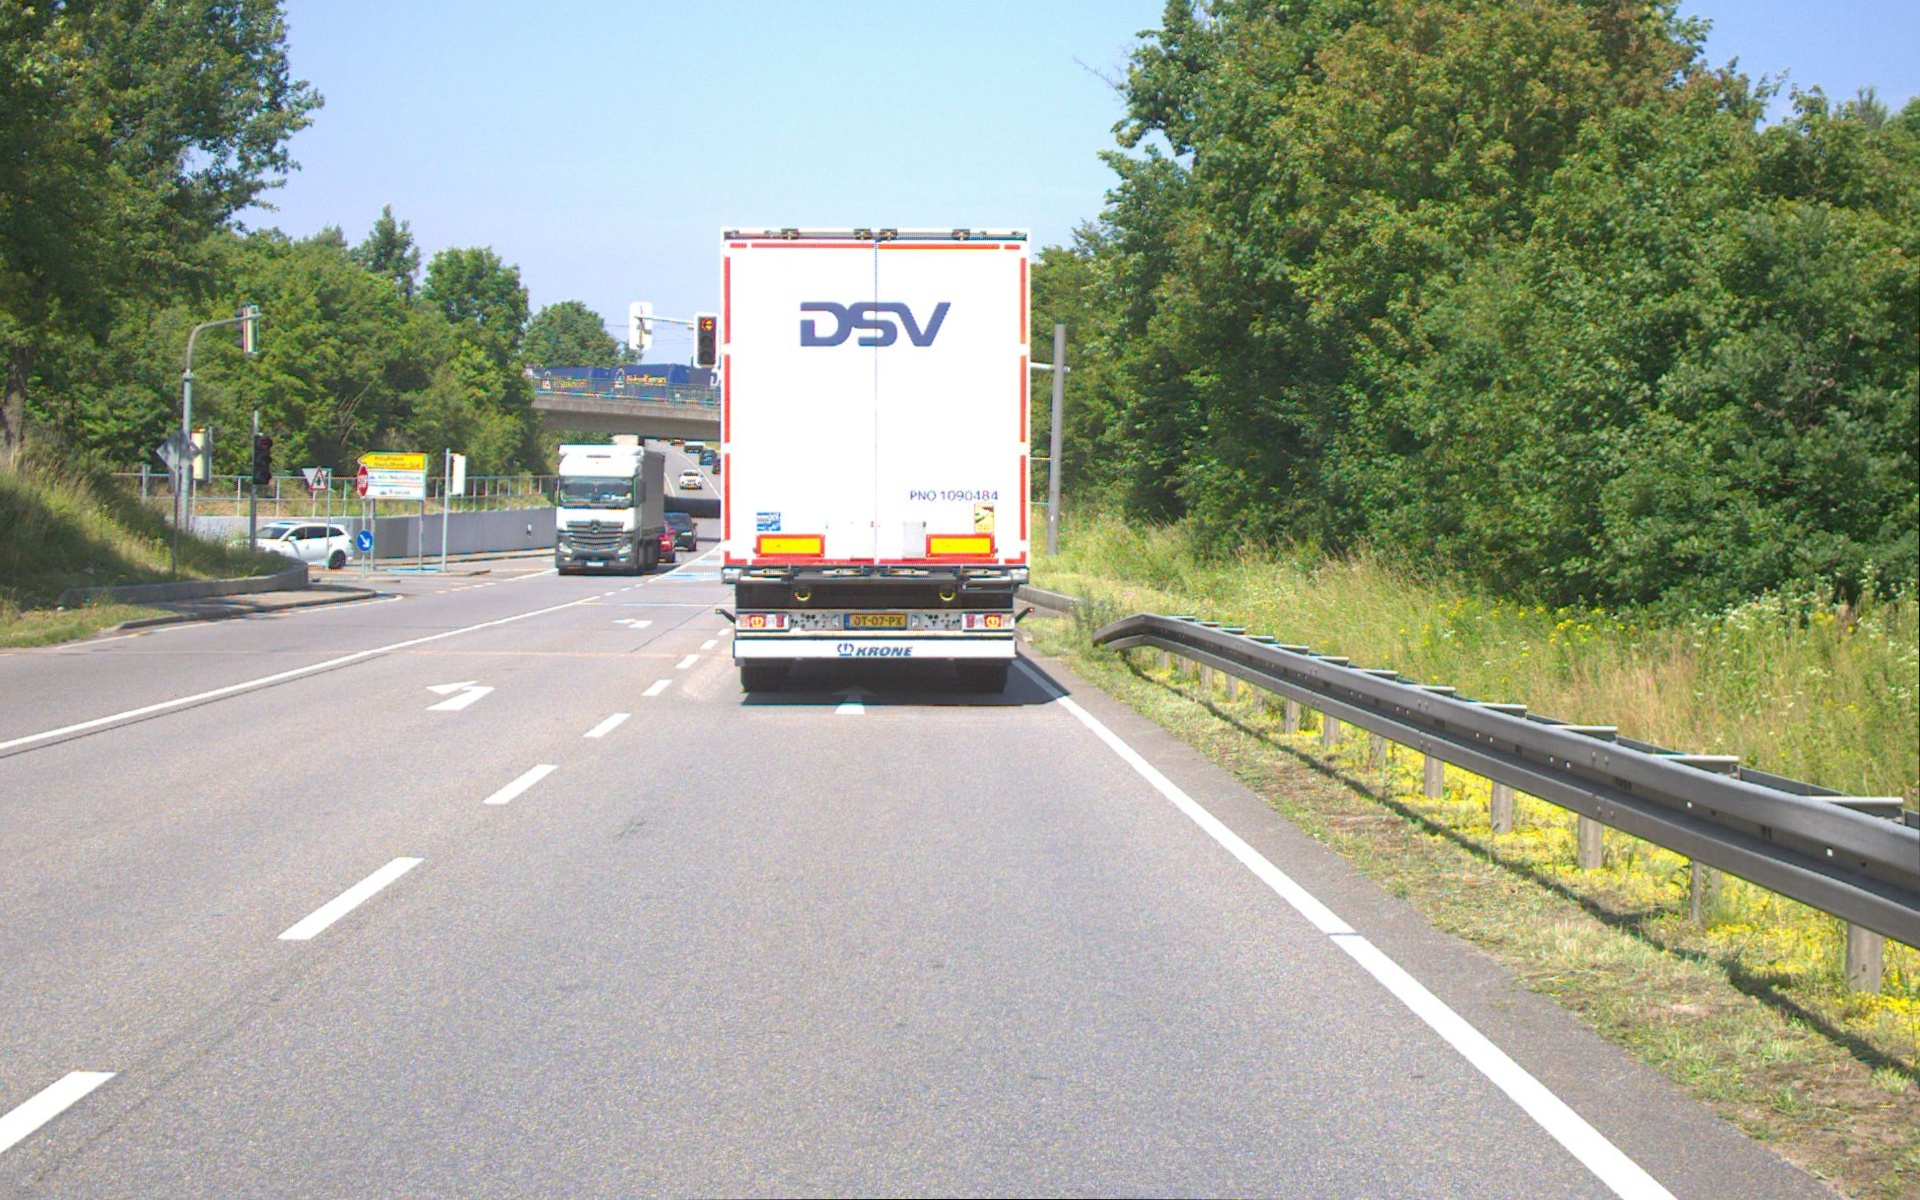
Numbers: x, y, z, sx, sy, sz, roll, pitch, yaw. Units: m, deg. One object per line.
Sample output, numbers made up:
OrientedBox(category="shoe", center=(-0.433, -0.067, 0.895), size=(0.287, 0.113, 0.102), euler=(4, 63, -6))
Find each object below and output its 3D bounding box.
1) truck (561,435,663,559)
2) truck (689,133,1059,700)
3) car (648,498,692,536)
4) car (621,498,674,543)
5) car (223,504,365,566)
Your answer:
OrientedBox(category="truck", center=(-11.095, -3.310, 110.635), size=(2.353, 3.737, 12.627), euler=(0, 2, -2))
OrientedBox(category="truck", center=(-0.803, -1.588, 32.710), size=(2.949, 4.553, 9.864), euler=(1, 1, -1))
OrientedBox(category="car", center=(-12.658, -3.656, 150.198), size=(1.747, 1.620, 3.704), euler=(0, 2, -2))
OrientedBox(category="car", center=(-11.635, -2.968, 128.040), size=(1.747, 1.620, 3.704), euler=(0, 2, -2))
OrientedBox(category="car", center=(-20.700, -2.037, 107.007), size=(1.805, 1.865, 4.412), euler=(2, 2, 32))
